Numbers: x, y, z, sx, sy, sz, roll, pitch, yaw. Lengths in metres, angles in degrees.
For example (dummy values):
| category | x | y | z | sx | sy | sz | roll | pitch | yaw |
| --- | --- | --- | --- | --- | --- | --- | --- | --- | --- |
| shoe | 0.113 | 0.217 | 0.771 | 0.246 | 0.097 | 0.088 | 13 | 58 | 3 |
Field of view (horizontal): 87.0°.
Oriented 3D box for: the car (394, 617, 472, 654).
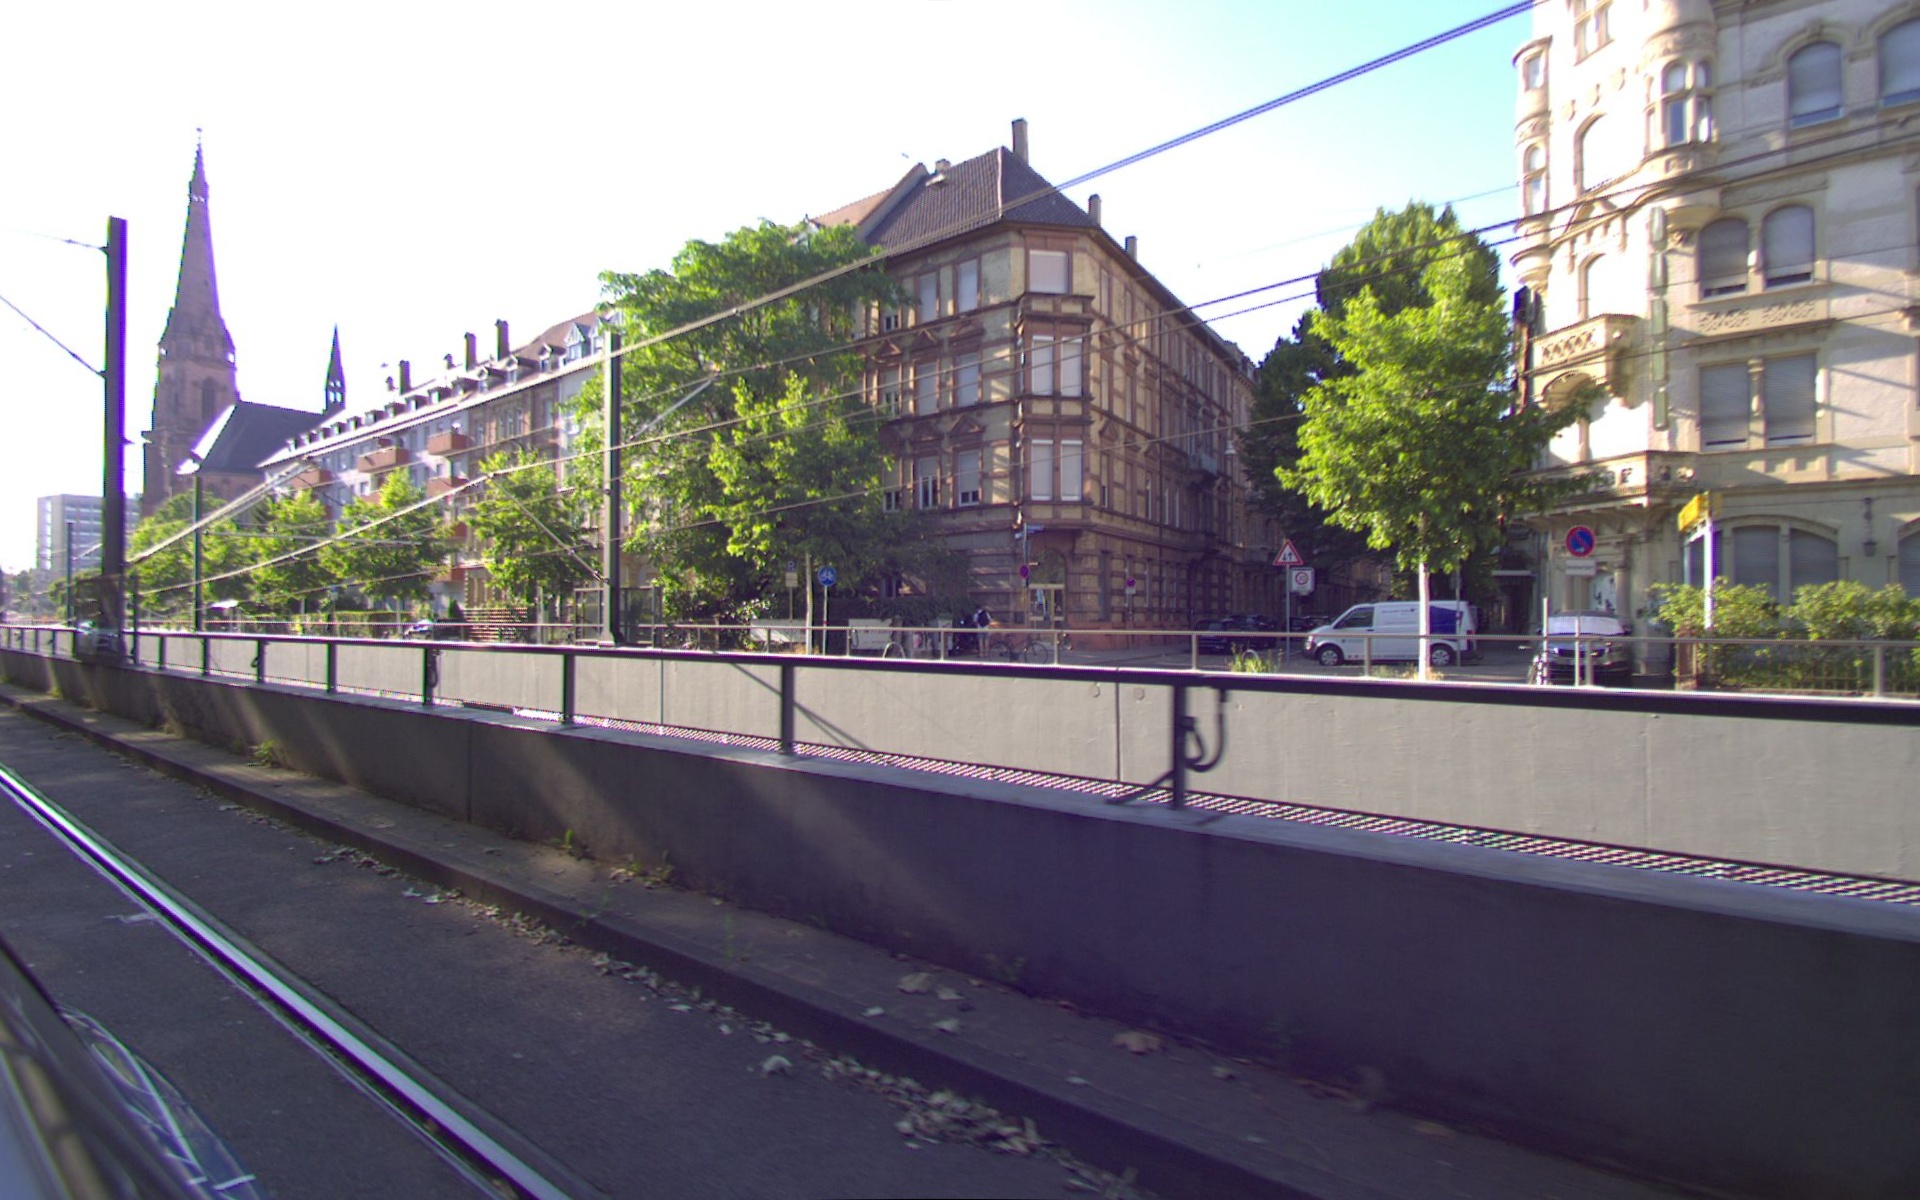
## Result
| category | x | y | z | sx | sy | sz | roll | pitch | yaw |
| --- | --- | --- | --- | --- | --- | --- | --- | --- | --- |
| car | -25.265 | 1.666 | 48.464 | 3.995 | 1.597 | 1.815 | -1 | 1 | 39 |

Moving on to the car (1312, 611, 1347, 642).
| category | x | y | z | sx | sy | sz | roll | pitch | yaw |
| --- | --- | --- | --- | --- | --- | --- | --- | --- | --- |
| car | 24.063 | 1.686 | 65.824 | 1.789 | 1.761 | 4.129 | -2 | 1 | 24 |

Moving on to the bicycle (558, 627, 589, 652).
| category | x | y | z | sx | sy | sz | roll | pitch | yaw |
| --- | --- | --- | --- | --- | --- | --- | --- | --- | --- |
| bicycle | -15.360 | 1.550 | 40.235 | 0.533 | 0.912 | 1.265 | -2 | 1 | 10 |

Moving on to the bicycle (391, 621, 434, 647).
| category | x | y | z | sx | sy | sz | roll | pitch | yaw |
| --- | --- | --- | --- | --- | --- | --- | --- | --- | --- |
| bicycle | -27.617 | 1.705 | 51.078 | 0.562 | 1.187 | 1.789 | -1 | 1 | 43 |

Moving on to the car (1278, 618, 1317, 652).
| category | x | y | z | sx | sy | sz | roll | pitch | yaw |
| --- | --- | --- | --- | --- | --- | --- | --- | --- | --- |
| car | 20.031 | 2.033 | 59.942 | 1.789 | 1.761 | 4.129 | -2 | 1 | 24 |

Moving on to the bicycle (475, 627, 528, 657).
| category | x | y | z | sx | sy | sz | roll | pitch | yaw |
| --- | --- | --- | --- | --- | --- | --- | --- | --- | --- |
| bicycle | -19.536 | 1.776 | 43.163 | 0.635 | 1.106 | 2.780 | -2 | 1 | 8 |

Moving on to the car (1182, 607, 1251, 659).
| category | x | y | z | sx | sy | sz | roll | pitch | yaw |
| --- | --- | --- | --- | --- | --- | --- | --- | --- | --- |
| car | 10.661 | 1.335 | 41.882 | 1.988 | 1.863 | 4.411 | -2 | 1 | 24 |

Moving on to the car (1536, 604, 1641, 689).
| category | x | y | z | sx | sy | sz | roll | pitch | yaw |
| --- | --- | --- | --- | --- | --- | --- | --- | --- | --- |
| car | 14.029 | 0.963 | 22.659 | 1.819 | 1.636 | 3.957 | -1 | 0 | 31 |

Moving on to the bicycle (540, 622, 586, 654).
| category | x | y | z | sx | sy | sz | roll | pitch | yaw |
| --- | --- | --- | --- | --- | --- | --- | --- | --- | --- |
| bicycle | -15.889 | 1.495 | 40.563 | 0.551 | 1.106 | 2.368 | -2 | 1 | 10 |

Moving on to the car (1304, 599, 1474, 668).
| category | x | y | z | sx | sy | sz | roll | pitch | yaw |
| --- | --- | --- | --- | --- | --- | --- | --- | --- | --- |
| car | 12.726 | 0.982 | 30.049 | 4.461 | 1.863 | 1.981 | -1 | 1 | 29 |

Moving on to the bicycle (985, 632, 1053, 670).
| category | x | y | z | sx | sy | sz | roll | pitch | yaw |
| --- | --- | --- | --- | --- | --- | --- | --- | --- | --- |
| bicycle | 1.736 | 1.500 | 29.627 | 1.923 | 1.012 | 0.454 | 1 | 1 | 10 |

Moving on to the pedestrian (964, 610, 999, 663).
| category | x | y | z | sx | sy | sz | roll | pitch | yaw |
| --- | --- | --- | --- | --- | --- | --- | --- | --- | --- |
| pedestrian | 0.720 | 1.190 | 33.720 | 0.710 | 1.701 | 0.865 | -3 | 1 | -44 |

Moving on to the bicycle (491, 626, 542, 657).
| category | x | y | z | sx | sy | sz | roll | pitch | yaw |
| --- | --- | --- | --- | --- | --- | --- | --- | --- | --- |
| bicycle | -18.853 | 1.752 | 43.099 | 0.635 | 1.106 | 2.780 | -2 | 1 | 8 |
